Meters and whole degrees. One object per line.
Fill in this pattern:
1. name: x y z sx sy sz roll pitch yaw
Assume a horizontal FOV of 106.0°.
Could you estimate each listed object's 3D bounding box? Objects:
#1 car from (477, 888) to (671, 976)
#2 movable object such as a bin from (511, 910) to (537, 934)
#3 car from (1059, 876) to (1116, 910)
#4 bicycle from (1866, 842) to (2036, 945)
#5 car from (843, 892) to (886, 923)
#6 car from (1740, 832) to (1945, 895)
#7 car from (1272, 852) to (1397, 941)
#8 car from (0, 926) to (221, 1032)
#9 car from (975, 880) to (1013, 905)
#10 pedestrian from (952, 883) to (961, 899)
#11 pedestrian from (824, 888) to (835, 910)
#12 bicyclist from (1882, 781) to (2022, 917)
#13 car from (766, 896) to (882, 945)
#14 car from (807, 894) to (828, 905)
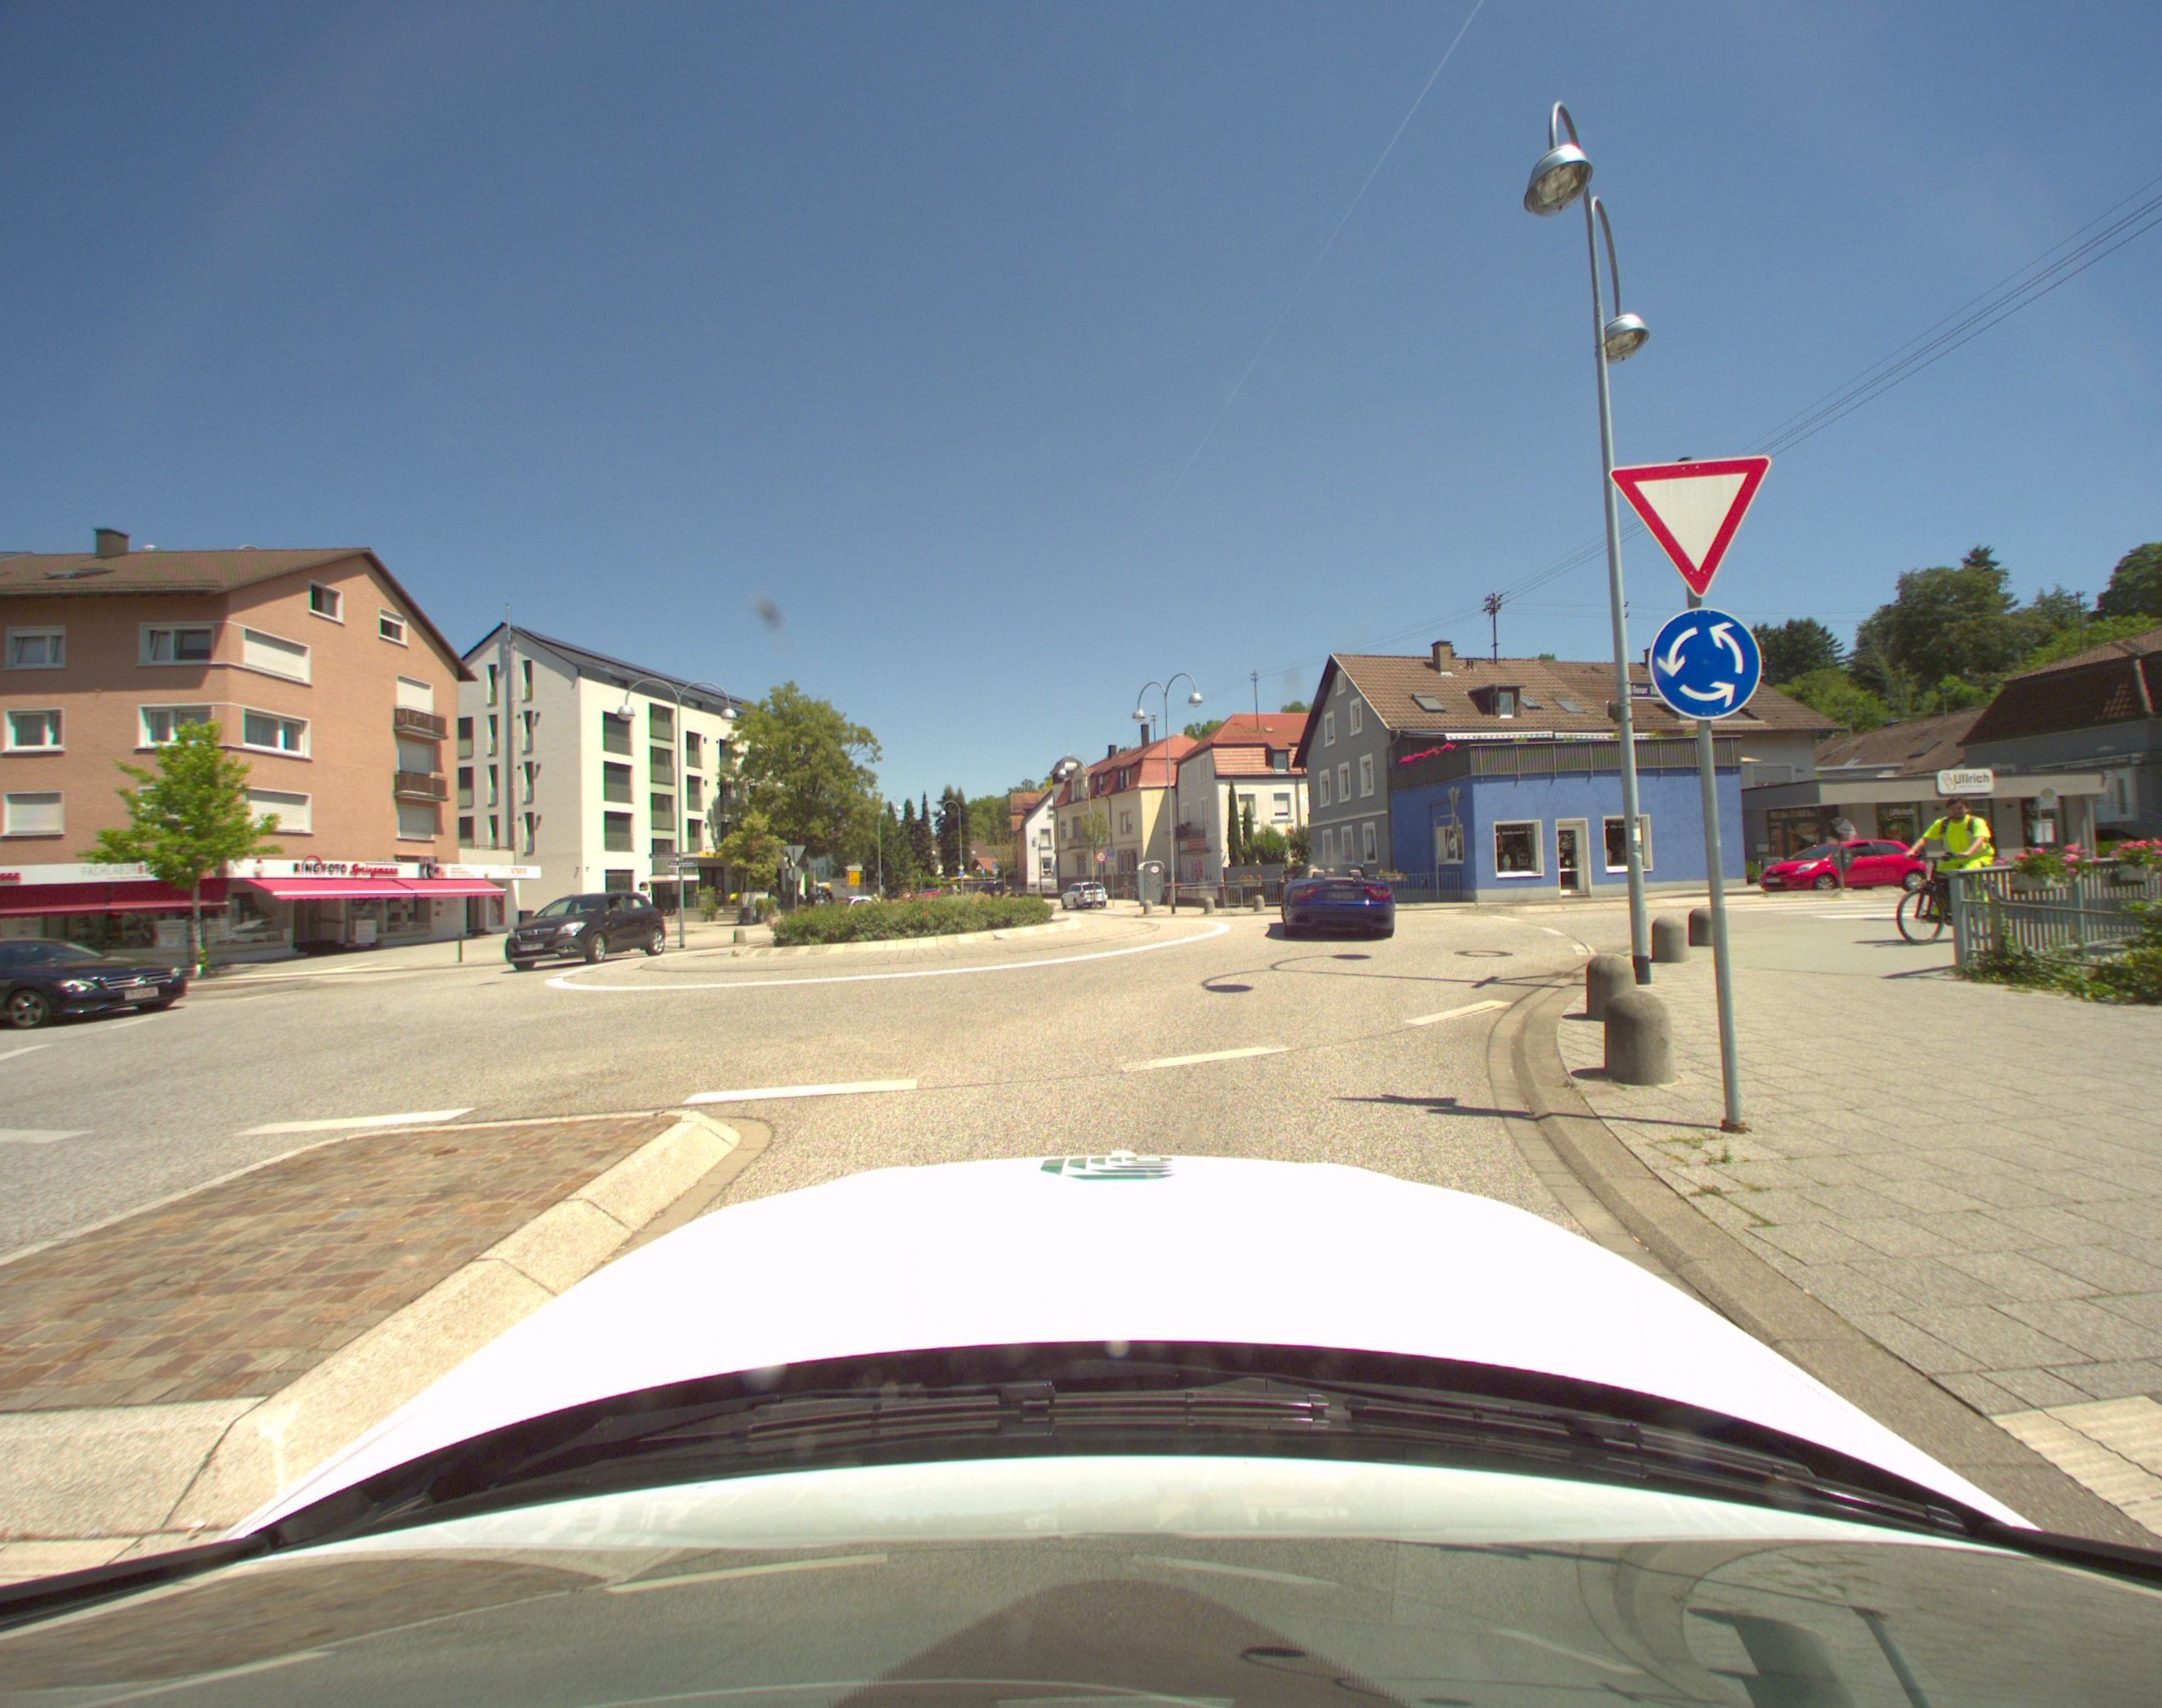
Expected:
1. car: -11.515 1.694 18.917 1.990 1.562 4.160 -5 -1 -4
2. movable object such as a bin: -28.350 3.443 41.430 0.765 1.155 0.764 -1 -1 16
3. car: 0.313 2.223 46.401 1.999 1.584 4.262 -6 -1 -17
4. bicycle: 11.055 0.480 10.355 1.853 1.156 0.805 -2 -2 -22
5. car: -12.306 3.004 46.527 1.793 1.590 3.991 0 -2 -6
6. car: 21.633 0.297 23.276 3.972 1.533 1.835 -2 -4 1
7. car: 4.924 0.700 15.718 1.960 1.398 4.649 -1 0 19
8. car: -18.462 2.204 14.208 4.679 1.477 1.999 -3 -1 -1
9. car: -7.339 3.189 68.244 2.003 1.865 4.253 0 -1 -24
10. pedestrian: -13.814 4.091 90.173 0.846 1.814 0.545 0 -1 -23
11. pedestrian: -17.886 3.205 57.933 0.527 1.485 0.558 -3 -2 12
12. bicyclist: 11.099 -0.062 10.395 1.063 1.635 0.805 -2 -2 -22
13. car: -9.269 2.382 29.784 1.912 1.382 4.306 -5 -2 16
14. car: -33.966 5.879 104.955 1.551 1.378 3.957 -1 -2 -33
